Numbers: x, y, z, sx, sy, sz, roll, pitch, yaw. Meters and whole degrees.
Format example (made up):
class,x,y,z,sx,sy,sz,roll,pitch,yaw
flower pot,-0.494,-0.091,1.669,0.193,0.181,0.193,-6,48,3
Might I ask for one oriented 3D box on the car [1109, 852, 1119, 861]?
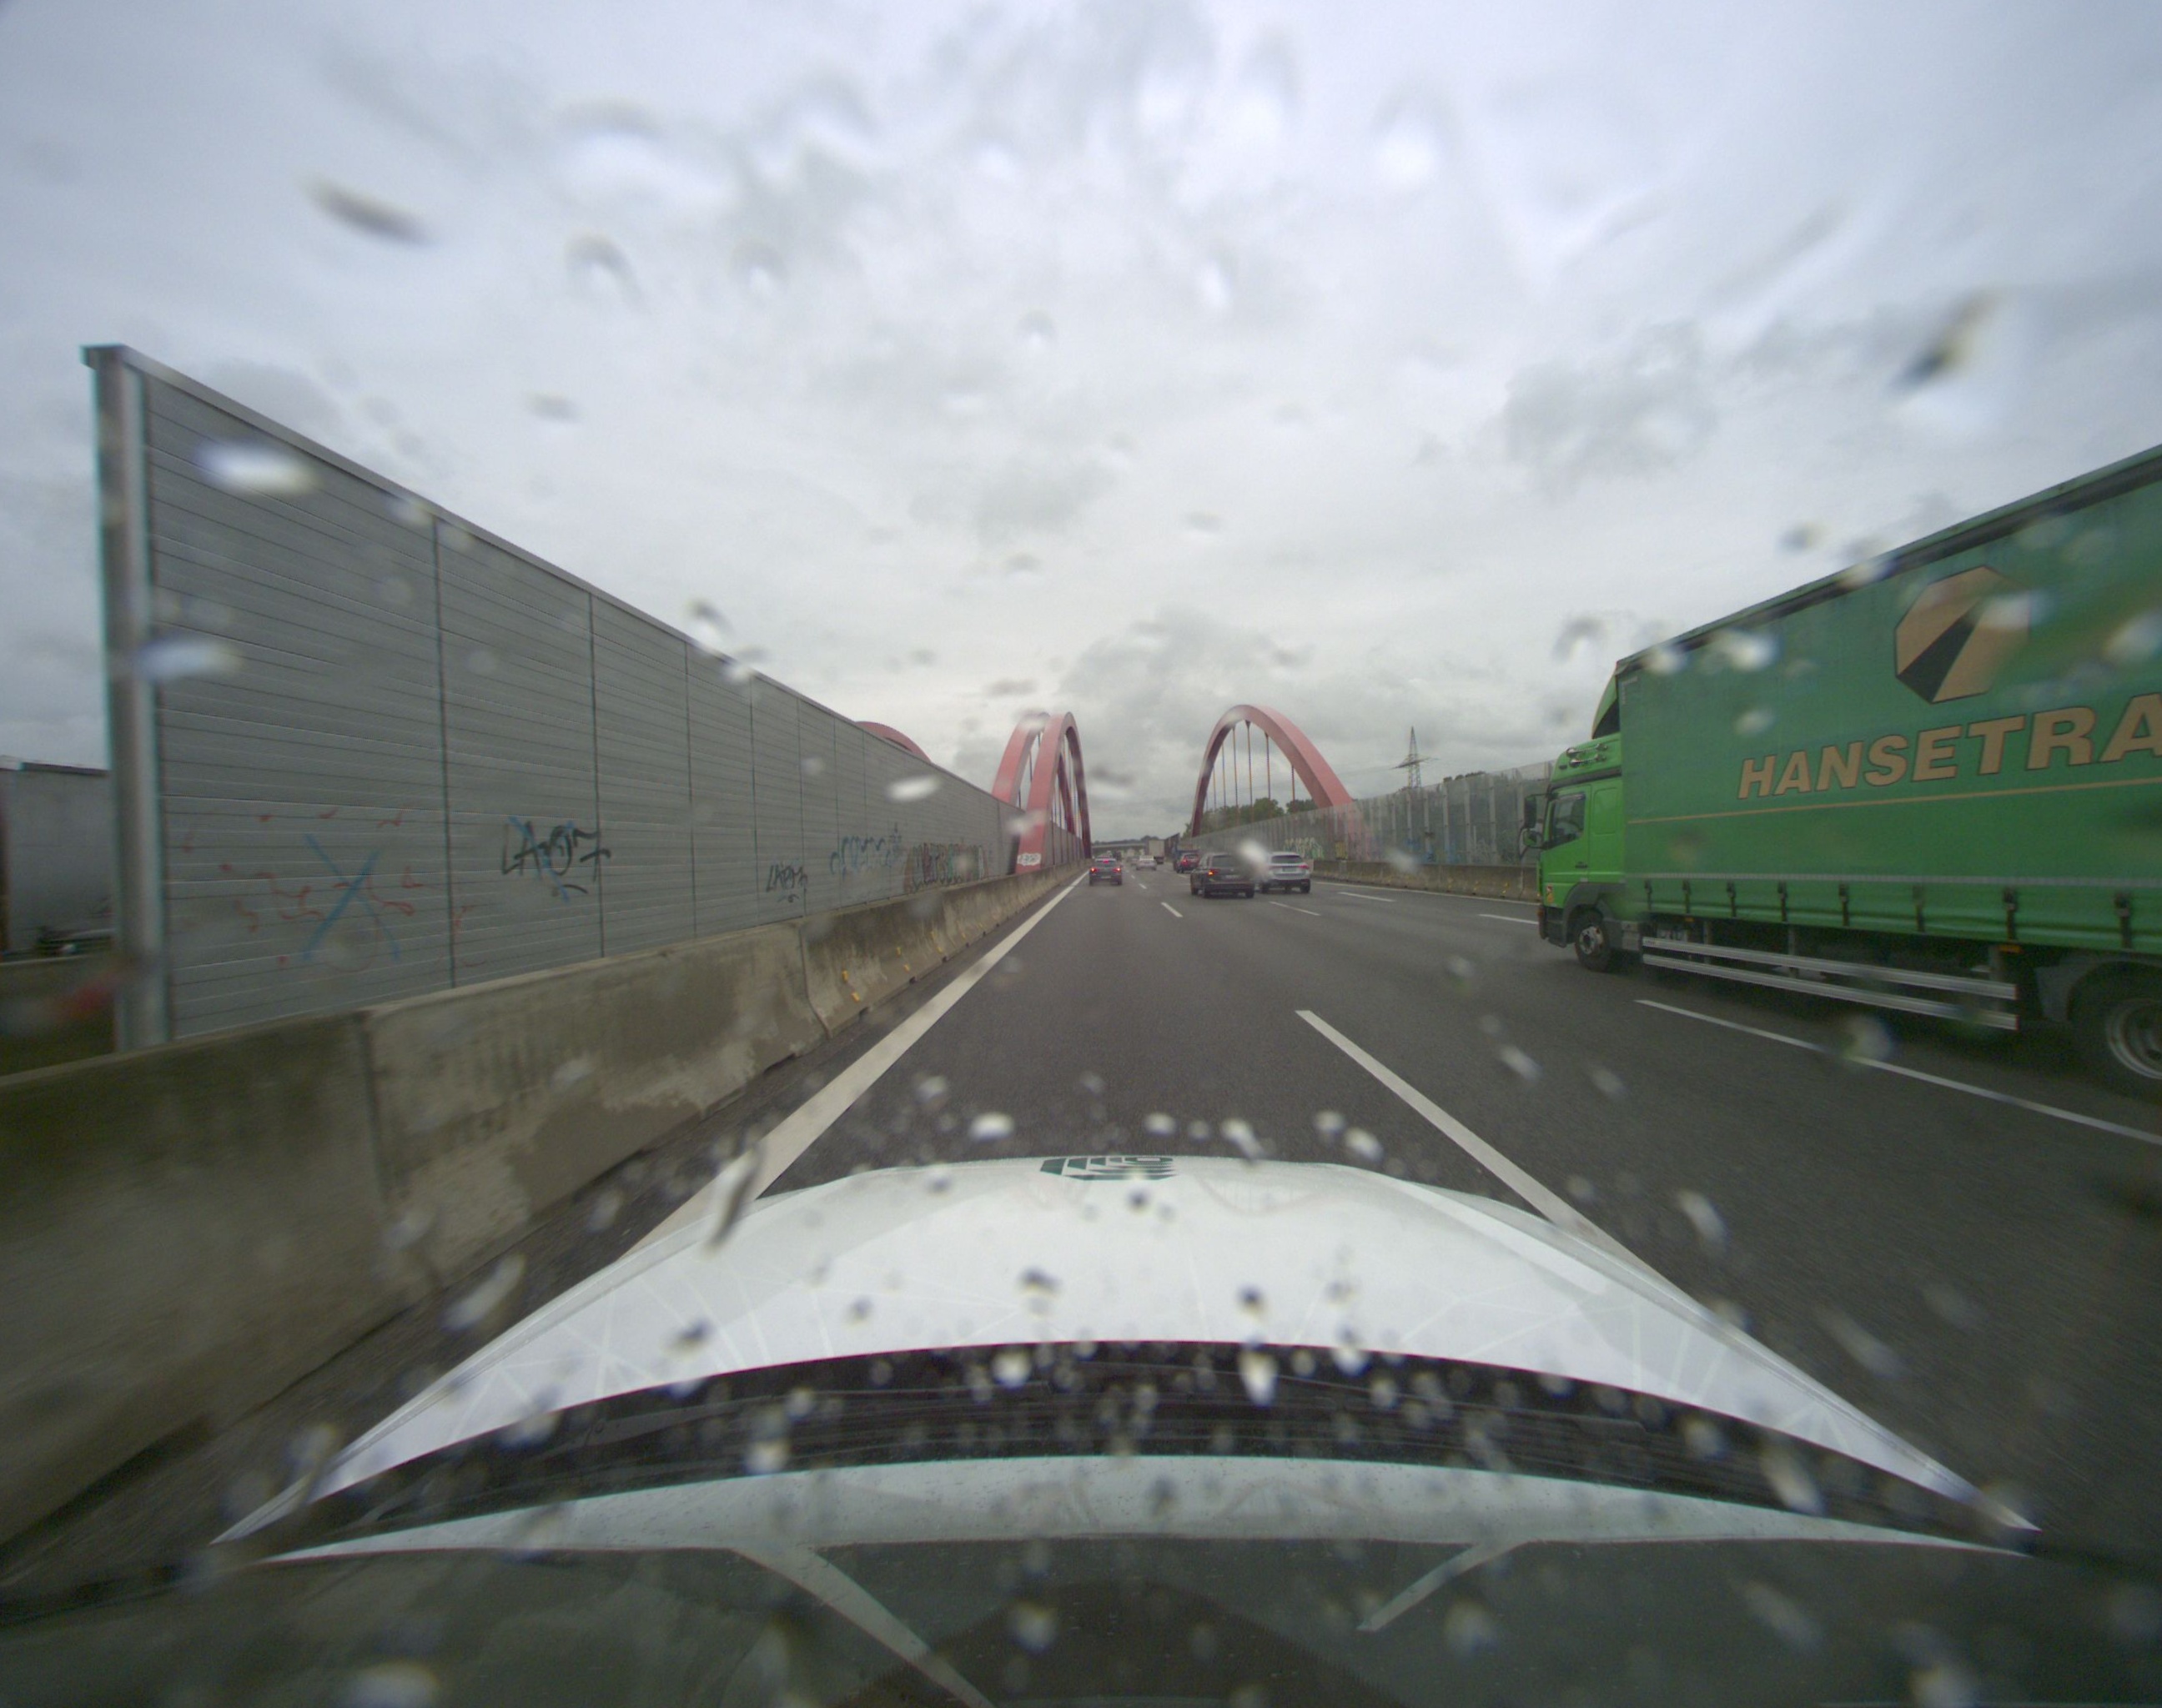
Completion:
class,x,y,z,sx,sy,sz,roll,pitch,yaw
car,6.658,0.513,165.016,1.986,1.815,4.001,-1,0,1

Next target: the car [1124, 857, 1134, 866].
class,x,y,z,sx,sy,sz,roll,pitch,yaw
car,10.230,1.591,173.167,1.986,2.014,4.001,0,0,1

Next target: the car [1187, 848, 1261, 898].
class,x,y,z,sx,sy,sz,roll,pitch,yaw
car,5.184,0.651,30.017,1.906,1.670,4.101,-1,0,-2

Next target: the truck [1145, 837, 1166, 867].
class,x,y,z,sx,sy,sz,roll,pitch,yaw
truck,12.132,-0.277,133.470,3.033,4.734,7.682,0,0,2

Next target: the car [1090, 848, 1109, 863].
class,x,y,z,sx,sy,sz,roll,pitch,yaw
car,2.084,0.185,92.125,1.987,1.585,4.000,-2,0,0

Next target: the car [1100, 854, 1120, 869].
class,x,y,z,sx,sy,sz,roll,pitch,yaw
car,2.812,0.744,79.467,1.775,1.406,3.627,-1,0,1

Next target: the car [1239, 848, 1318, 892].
class,x,y,z,sx,sy,sz,roll,pitch,yaw
car,7.917,0.617,33.133,1.987,1.619,5.328,0,0,1

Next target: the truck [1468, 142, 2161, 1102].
class,x,y,z,sx,sy,sz,roll,pitch,yaw
truck,8.022,-1.270,7.343,3.983,5.266,11.223,-1,0,2

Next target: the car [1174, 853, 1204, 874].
class,x,y,z,sx,sy,sz,roll,pitch,yaw
car,8.682,0.745,65.633,1.950,1.647,4.000,0,0,1

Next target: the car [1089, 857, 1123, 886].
class,x,y,z,sx,sy,sz,roll,pitch,yaw
car,1.346,0.924,43.753,1.757,1.453,4.002,-1,0,2

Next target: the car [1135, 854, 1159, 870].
class,x,y,z,sx,sy,sz,roll,pitch,yaw
car,6.317,0.742,78.585,1.987,1.486,4.000,-1,0,1

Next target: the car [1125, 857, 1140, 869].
class,x,y,z,sx,sy,sz,roll,pitch,yaw
car,6.708,1.177,106.164,1.696,1.543,3.840,-1,0,2

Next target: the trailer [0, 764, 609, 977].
class,x,y,z,sx,sy,sz,roll,pitch,yaw
trailer,-18.266,0.302,21.542,2.973,3.729,14.310,-1,0,1

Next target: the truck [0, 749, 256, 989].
class,x,y,z,sx,sy,sz,roll,pitch,yaw
truck,-18.404,0.259,13.663,2.974,3.753,5.918,-1,0,1

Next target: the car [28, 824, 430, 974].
class,x,y,z,sx,sy,sz,roll,pitch,yaw
car,-13.954,0.656,13.871,1.986,2.112,4.532,-1,0,2

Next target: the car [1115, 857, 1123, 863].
class,x,y,z,sx,sy,sz,roll,pitch,yaw
car,9.563,1.529,205.936,1.985,1.624,4.004,-1,0,4

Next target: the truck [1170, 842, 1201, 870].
class,x,y,z,sx,sy,sz,roll,pitch,yaw
truck,9.925,0.176,77.832,2.352,2.506,6.146,-1,0,2
